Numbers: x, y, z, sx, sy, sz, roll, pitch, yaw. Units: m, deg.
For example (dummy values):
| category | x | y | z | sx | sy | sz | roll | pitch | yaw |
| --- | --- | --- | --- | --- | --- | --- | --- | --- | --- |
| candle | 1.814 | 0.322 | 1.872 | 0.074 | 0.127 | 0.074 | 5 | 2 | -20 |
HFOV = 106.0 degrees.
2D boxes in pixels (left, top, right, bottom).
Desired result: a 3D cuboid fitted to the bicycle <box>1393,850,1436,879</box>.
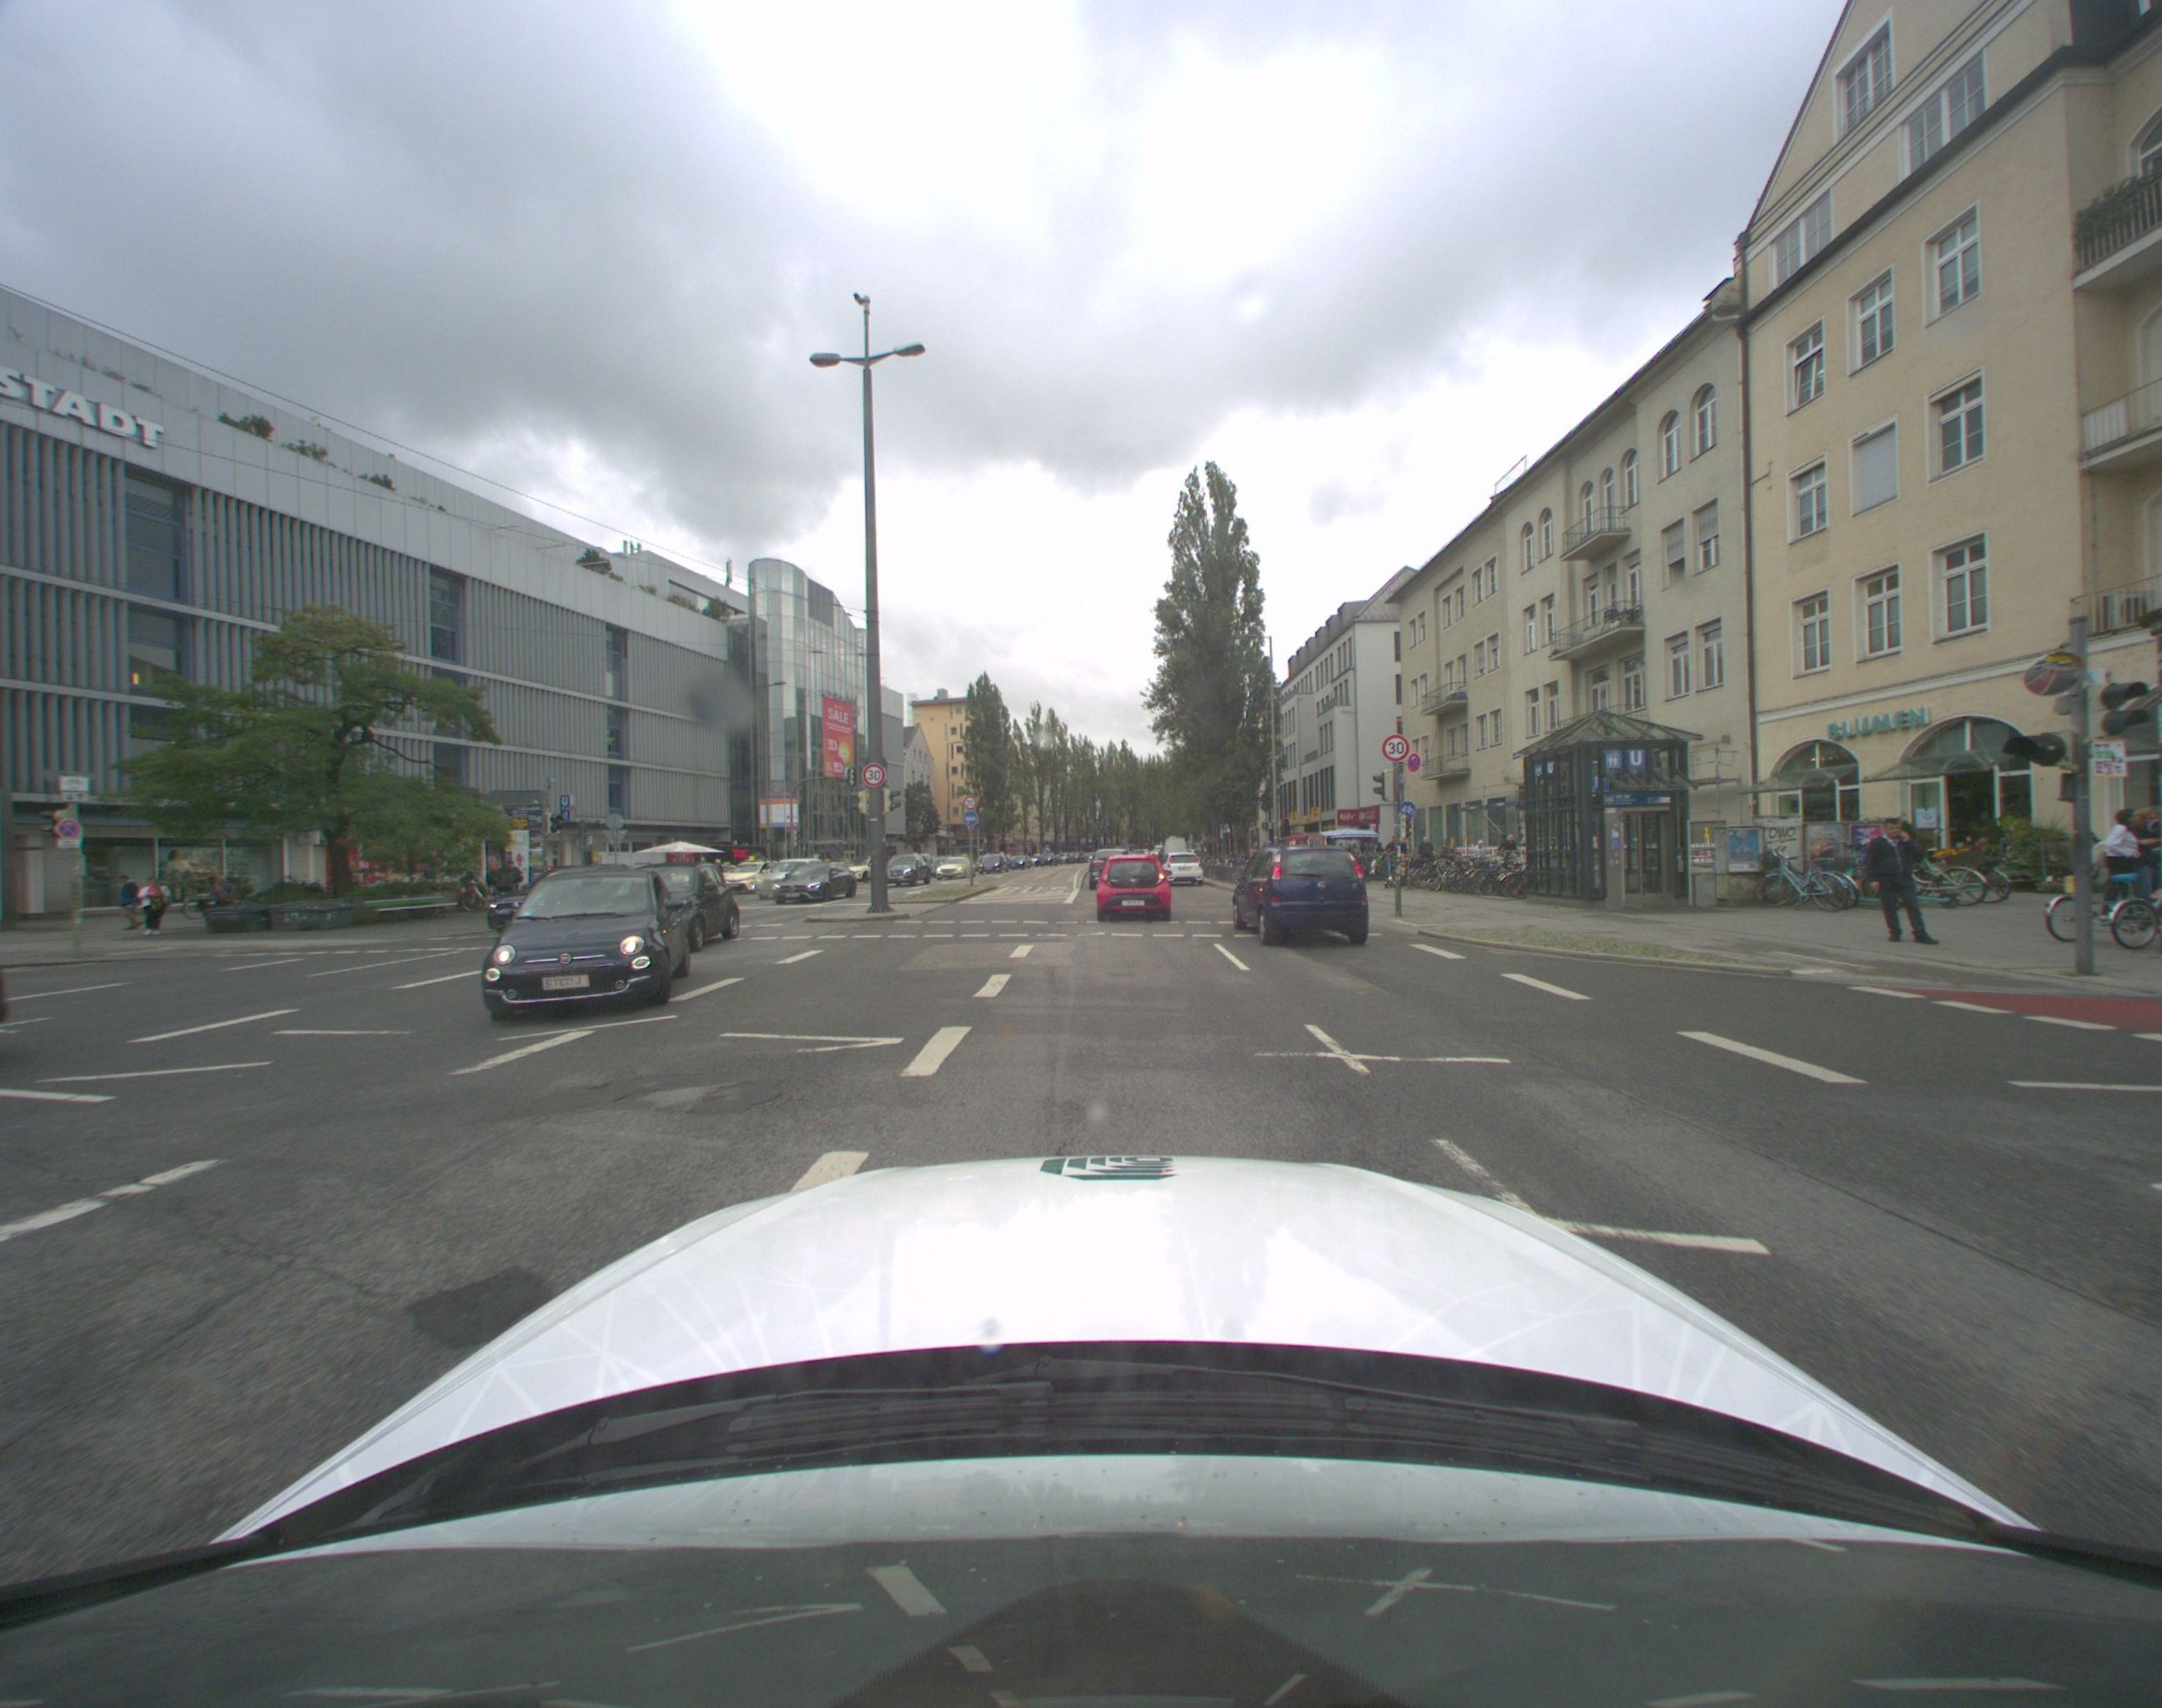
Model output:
| category | x | y | z | sx | sy | sz | roll | pitch | yaw |
| --- | --- | --- | --- | --- | --- | --- | --- | --- | --- |
| bicycle | 13.383 | 0.417 | 32.710 | 1.546 | 1.075 | 0.451 | -2 | 0 | -3 |

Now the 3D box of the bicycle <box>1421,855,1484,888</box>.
| category | x | y | z | sx | sy | sz | roll | pitch | yaw |
| --- | --- | --- | --- | --- | --- | --- | --- | --- | --- |
| bicycle | 11.728 | 0.548 | 25.733 | 1.749 | 0.964 | 0.453 | -2 | 0 | -1 |

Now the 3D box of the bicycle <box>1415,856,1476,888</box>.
| category | x | y | z | sx | sy | sz | roll | pitch | yaw |
| --- | --- | --- | --- | --- | --- | --- | --- | --- | --- |
| bicycle | 11.799 | 0.574 | 26.394 | 1.749 | 0.964 | 0.453 | -2 | 0 | -1 |

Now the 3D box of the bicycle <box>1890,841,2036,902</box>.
| category | x | y | z | sx | sy | sz | roll | pitch | yaw |
| --- | --- | --- | --- | --- | --- | --- | --- | --- | --- |
| bicycle | 16.617 | 0.310 | 15.418 | 0.495 | 1.059 | 1.858 | -2 | 0 | -13 |

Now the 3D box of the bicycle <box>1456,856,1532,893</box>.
| category | x | y | z | sx | sy | sz | roll | pitch | yaw |
| --- | --- | --- | --- | --- | --- | --- | --- | --- | --- |
| bicycle | 11.550 | 0.562 | 22.794 | 1.832 | 0.964 | 0.509 | -2 | 0 | -1 |

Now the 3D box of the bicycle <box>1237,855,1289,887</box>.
| category | x | y | z | sx | sy | sz | roll | pitch | yaw |
| --- | --- | --- | --- | --- | --- | --- | --- | --- | --- |
| bicycle | 6.834 | 0.646 | 30.635 | 1.781 | 1.158 | 0.656 | -1 | 0 | 37 |

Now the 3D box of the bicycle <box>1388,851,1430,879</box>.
| category | x | y | z | sx | sy | sz | roll | pitch | yaw |
| --- | --- | --- | --- | --- | --- | --- | --- | --- | --- |
| bicycle | 13.385 | 0.437 | 33.239 | 1.547 | 1.075 | 0.368 | -2 | 0 | -5 |

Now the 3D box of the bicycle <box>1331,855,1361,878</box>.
| category | x | y | z | sx | sy | sz | roll | pitch | yaw |
| --- | --- | --- | --- | --- | --- | --- | --- | --- | --- |
| bicycle | 11.770 | 0.546 | 36.211 | 1.175 | 0.963 | 0.370 | -2 | 0 | 5 |

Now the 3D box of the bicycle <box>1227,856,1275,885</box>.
| category | x | y | z | sx | sy | sz | roll | pitch | yaw |
| --- | --- | --- | --- | --- | --- | --- | --- | --- | --- |
| bicycle | 6.821 | 0.662 | 32.698 | 1.781 | 1.111 | 0.656 | -1 | 0 | 38 |

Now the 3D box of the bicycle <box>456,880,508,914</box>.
| category | x | y | z | sx | sy | sz | roll | pitch | yaw |
| --- | --- | --- | --- | --- | --- | --- | --- | --- | --- |
| bicycle | -20.542 | 1.471 | 27.937 | 1.566 | 1.112 | 0.374 | -1 | 0 | 5 |

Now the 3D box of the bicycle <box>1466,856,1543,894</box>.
| category | x | y | z | sx | sy | sz | roll | pitch | yaw |
| --- | --- | --- | --- | --- | --- | --- | --- | --- | --- |
| bicycle | 11.514 | 0.563 | 22.174 | 1.832 | 0.964 | 0.509 | -2 | 0 | -1 |

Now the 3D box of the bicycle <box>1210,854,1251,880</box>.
| category | x | y | z | sx | sy | sz | roll | pitch | yaw |
| --- | --- | --- | --- | --- | --- | --- | --- | --- | --- |
| bicycle | 6.867 | 0.617 | 37.532 | 1.815 | 1.168 | 0.590 | -1 | 0 | 44 |

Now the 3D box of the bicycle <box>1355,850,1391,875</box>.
| category | x | y | z | sx | sy | sz | roll | pitch | yaw |
| --- | --- | --- | --- | --- | --- | --- | --- | --- | --- |
| bicycle | 13.252 | 0.379 | 36.946 | 1.498 | 1.075 | 0.368 | -2 | 0 | -5 |

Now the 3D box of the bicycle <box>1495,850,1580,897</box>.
| category | x | y | z | sx | sy | sz | roll | pitch | yaw |
| --- | --- | --- | --- | --- | --- | --- | --- | --- | --- |
| bicycle | 11.462 | 0.489 | 20.485 | 1.832 | 1.094 | 0.509 | -2 | 0 | -1 |

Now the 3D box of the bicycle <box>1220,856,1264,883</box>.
| category | x | y | z | sx | sy | sz | roll | pitch | yaw |
| --- | --- | --- | --- | --- | --- | --- | --- | --- | --- |
| bicycle | 6.849 | 0.657 | 34.775 | 1.782 | 1.111 | 0.566 | -1 | 0 | 43 |

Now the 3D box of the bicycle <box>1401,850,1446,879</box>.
| category | x | y | z | sx | sy | sz | roll | pitch | yaw |
| --- | --- | --- | --- | --- | --- | --- | --- | --- | --- |
| bicycle | 13.494 | 0.420 | 32.077 | 1.543 | 1.075 | 0.452 | -2 | 0 | 3 |

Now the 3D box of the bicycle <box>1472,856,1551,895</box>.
| category | x | y | z | sx | sy | sz | roll | pitch | yaw |
| --- | --- | --- | --- | --- | --- | --- | --- | --- | --- |
| bicycle | 11.431 | 0.564 | 21.643 | 1.832 | 0.964 | 0.509 | -2 | 0 | -1 |

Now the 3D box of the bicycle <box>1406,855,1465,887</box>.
| category | x | y | z | sx | sy | sz | roll | pitch | yaw |
| --- | --- | --- | --- | --- | --- | --- | --- | --- | --- |
| bicycle | 11.724 | 0.557 | 26.955 | 1.747 | 0.964 | 0.453 | -2 | 0 | 2 |

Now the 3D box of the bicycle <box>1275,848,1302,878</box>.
| category | x | y | z | sx | sy | sz | roll | pitch | yaw |
| --- | --- | --- | --- | --- | --- | --- | --- | --- | --- |
| bicycle | 9.236 | 0.365 | 36.357 | 0.611 | 1.265 | 2.521 | -2 | 0 | 2 |

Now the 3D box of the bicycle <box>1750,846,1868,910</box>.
| category | x | y | z | sx | sy | sz | roll | pitch | yaw |
| --- | --- | --- | --- | --- | --- | --- | --- | --- | --- |
| bicycle | 13.579 | 0.424 | 15.274 | 0.564 | 1.107 | 1.867 | -2 | 0 | 2 |

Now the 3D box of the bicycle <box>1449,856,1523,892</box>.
| category | x | y | z | sx | sy | sz | roll | pitch | yaw |
| --- | --- | --- | --- | --- | --- | --- | --- | --- | --- |
| bicycle | 11.594 | 0.560 | 23.326 | 1.832 | 0.964 | 0.509 | -2 | 0 | -1 |

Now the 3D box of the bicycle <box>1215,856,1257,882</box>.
| category | x | y | z | sx | sy | sz | roll | pitch | yaw |
| --- | --- | --- | --- | --- | --- | --- | --- | --- | --- |
| bicycle | 6.863 | 0.652 | 36.203 | 1.782 | 1.111 | 0.590 | -1 | 0 | 44 |

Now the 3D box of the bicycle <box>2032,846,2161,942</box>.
| category | x | y | z | sx | sy | sz | roll | pitch | yaw |
| --- | --- | --- | --- | --- | --- | --- | --- | --- | --- |
| bicycle | 13.631 | 0.520 | 10.699 | 1.561 | 1.160 | 0.525 | -2 | 2 | 4 |

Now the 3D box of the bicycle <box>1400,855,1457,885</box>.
| category | x | y | z | sx | sy | sz | roll | pitch | yaw |
| --- | --- | --- | --- | --- | --- | --- | --- | --- | --- |
| bicycle | 11.781 | 0.550 | 27.647 | 1.747 | 0.964 | 0.369 | -2 | 0 | 2 |

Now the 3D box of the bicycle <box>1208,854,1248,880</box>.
| category | x | y | z | sx | sy | sz | roll | pitch | yaw |
| --- | --- | --- | --- | --- | --- | --- | --- | --- | --- |
| bicycle | 6.918 | 0.597 | 38.313 | 1.815 | 1.197 | 0.590 | -1 | 0 | 44 |

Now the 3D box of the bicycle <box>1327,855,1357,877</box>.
| category | x | y | z | sx | sy | sz | roll | pitch | yaw |
| --- | --- | --- | --- | --- | --- | --- | --- | --- | --- |
| bicycle | 11.781 | 0.526 | 36.755 | 1.177 | 0.963 | 0.369 | -2 | 0 | -1 |

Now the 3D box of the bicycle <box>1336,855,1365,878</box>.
| category | x | y | z | sx | sy | sz | roll | pitch | yaw |
| --- | --- | --- | --- | --- | --- | --- | --- | --- | --- |
| bicycle | 11.758 | 0.527 | 35.561 | 1.127 | 0.963 | 0.370 | -2 | 0 | 7 |

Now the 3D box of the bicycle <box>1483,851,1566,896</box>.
| category | x | y | z | sx | sy | sz | roll | pitch | yaw |
| --- | --- | --- | --- | --- | --- | --- | --- | --- | --- |
| bicycle | 11.457 | 0.487 | 21.051 | 1.832 | 1.094 | 0.509 | -2 | 0 | -1 |

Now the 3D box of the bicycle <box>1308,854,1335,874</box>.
| category | x | y | z | sx | sy | sz | roll | pitch | yaw |
| --- | --- | --- | --- | --- | --- | --- | --- | --- | --- |
| bicycle | 11.972 | 0.503 | 40.577 | 1.253 | 0.963 | 0.370 | -2 | 0 | 11 |

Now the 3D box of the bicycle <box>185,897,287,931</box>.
| category | x | y | z | sx | sy | sz | roll | pitch | yaw |
| --- | --- | --- | --- | --- | --- | --- | --- | --- | --- |
| bicycle | -31.938 | 2.257 | 30.781 | 3.468 | 1.156 | 1.064 | -2 | 0 | 14 |

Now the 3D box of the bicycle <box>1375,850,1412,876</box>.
| category | x | y | z | sx | sy | sz | roll | pitch | yaw |
| --- | --- | --- | --- | --- | --- | --- | --- | --- | --- |
| bicycle | 13.269 | 0.377 | 34.551 | 1.424 | 1.075 | 0.368 | -2 | 0 | -5 |

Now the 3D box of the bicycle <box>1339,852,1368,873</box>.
| category | x | y | z | sx | sy | sz | roll | pitch | yaw |
| --- | --- | --- | --- | --- | --- | --- | --- | --- | --- |
| bicycle | 13.194 | 0.422 | 39.449 | 1.240 | 0.981 | 0.369 | -2 | 0 | -2 |

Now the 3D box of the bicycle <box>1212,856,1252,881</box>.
| category | x | y | z | sx | sy | sz | roll | pitch | yaw |
| --- | --- | --- | --- | --- | --- | --- | --- | --- | --- |
| bicycle | 6.828 | 0.649 | 36.869 | 1.782 | 1.111 | 0.494 | -1 | 0 | 44 |

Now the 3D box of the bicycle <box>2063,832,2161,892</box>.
| category | x | y | z | sx | sy | sz | roll | pitch | yaw |
| --- | --- | --- | --- | --- | --- | --- | --- | --- | --- |
| bicycle | 19.982 | 0.140 | 15.393 | 0.493 | 1.089 | 1.864 | -2 | 0 | -4 |

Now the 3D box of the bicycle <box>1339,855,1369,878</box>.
| category | x | y | z | sx | sy | sz | roll | pitch | yaw |
| --- | --- | --- | --- | --- | --- | --- | --- | --- | --- |
| bicycle | 11.761 | 0.529 | 35.121 | 1.127 | 0.963 | 0.370 | -2 | 0 | 7 |

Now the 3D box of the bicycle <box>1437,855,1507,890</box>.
| category | x | y | z | sx | sy | sz | roll | pitch | yaw |
| --- | --- | --- | --- | --- | --- | --- | --- | --- | --- |
| bicycle | 11.591 | 0.558 | 24.152 | 1.832 | 0.964 | 0.509 | -2 | 0 | -1 |

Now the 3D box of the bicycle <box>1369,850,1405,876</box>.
| category | x | y | z | sx | sy | sz | roll | pitch | yaw |
| --- | --- | --- | --- | --- | --- | --- | --- | --- | --- |
| bicycle | 13.211 | 0.375 | 35.146 | 1.424 | 1.075 | 0.368 | -2 | 0 | -5 |

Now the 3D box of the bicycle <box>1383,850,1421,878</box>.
| category | x | y | z | sx | sy | sz | roll | pitch | yaw |
| --- | --- | --- | --- | --- | --- | --- | --- | --- | --- |
| bicycle | 13.309 | 0.413 | 33.760 | 1.424 | 1.075 | 0.368 | -2 | 0 | -5 |

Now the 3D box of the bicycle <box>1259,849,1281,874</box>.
| category | x | y | z | sx | sy | sz | roll | pitch | yaw |
| --- | --- | --- | --- | --- | --- | --- | --- | --- | --- |
| bicycle | 9.735 | 0.368 | 42.062 | 0.611 | 1.265 | 2.521 | -2 | 0 | 2 |

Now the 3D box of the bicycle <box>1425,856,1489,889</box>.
| category | x | y | z | sx | sy | sz | roll | pitch | yaw |
| --- | --- | --- | --- | --- | --- | --- | --- | --- | --- |
| bicycle | 11.638 | 0.565 | 25.229 | 1.749 | 0.964 | 0.453 | -2 | 0 | -1 |
